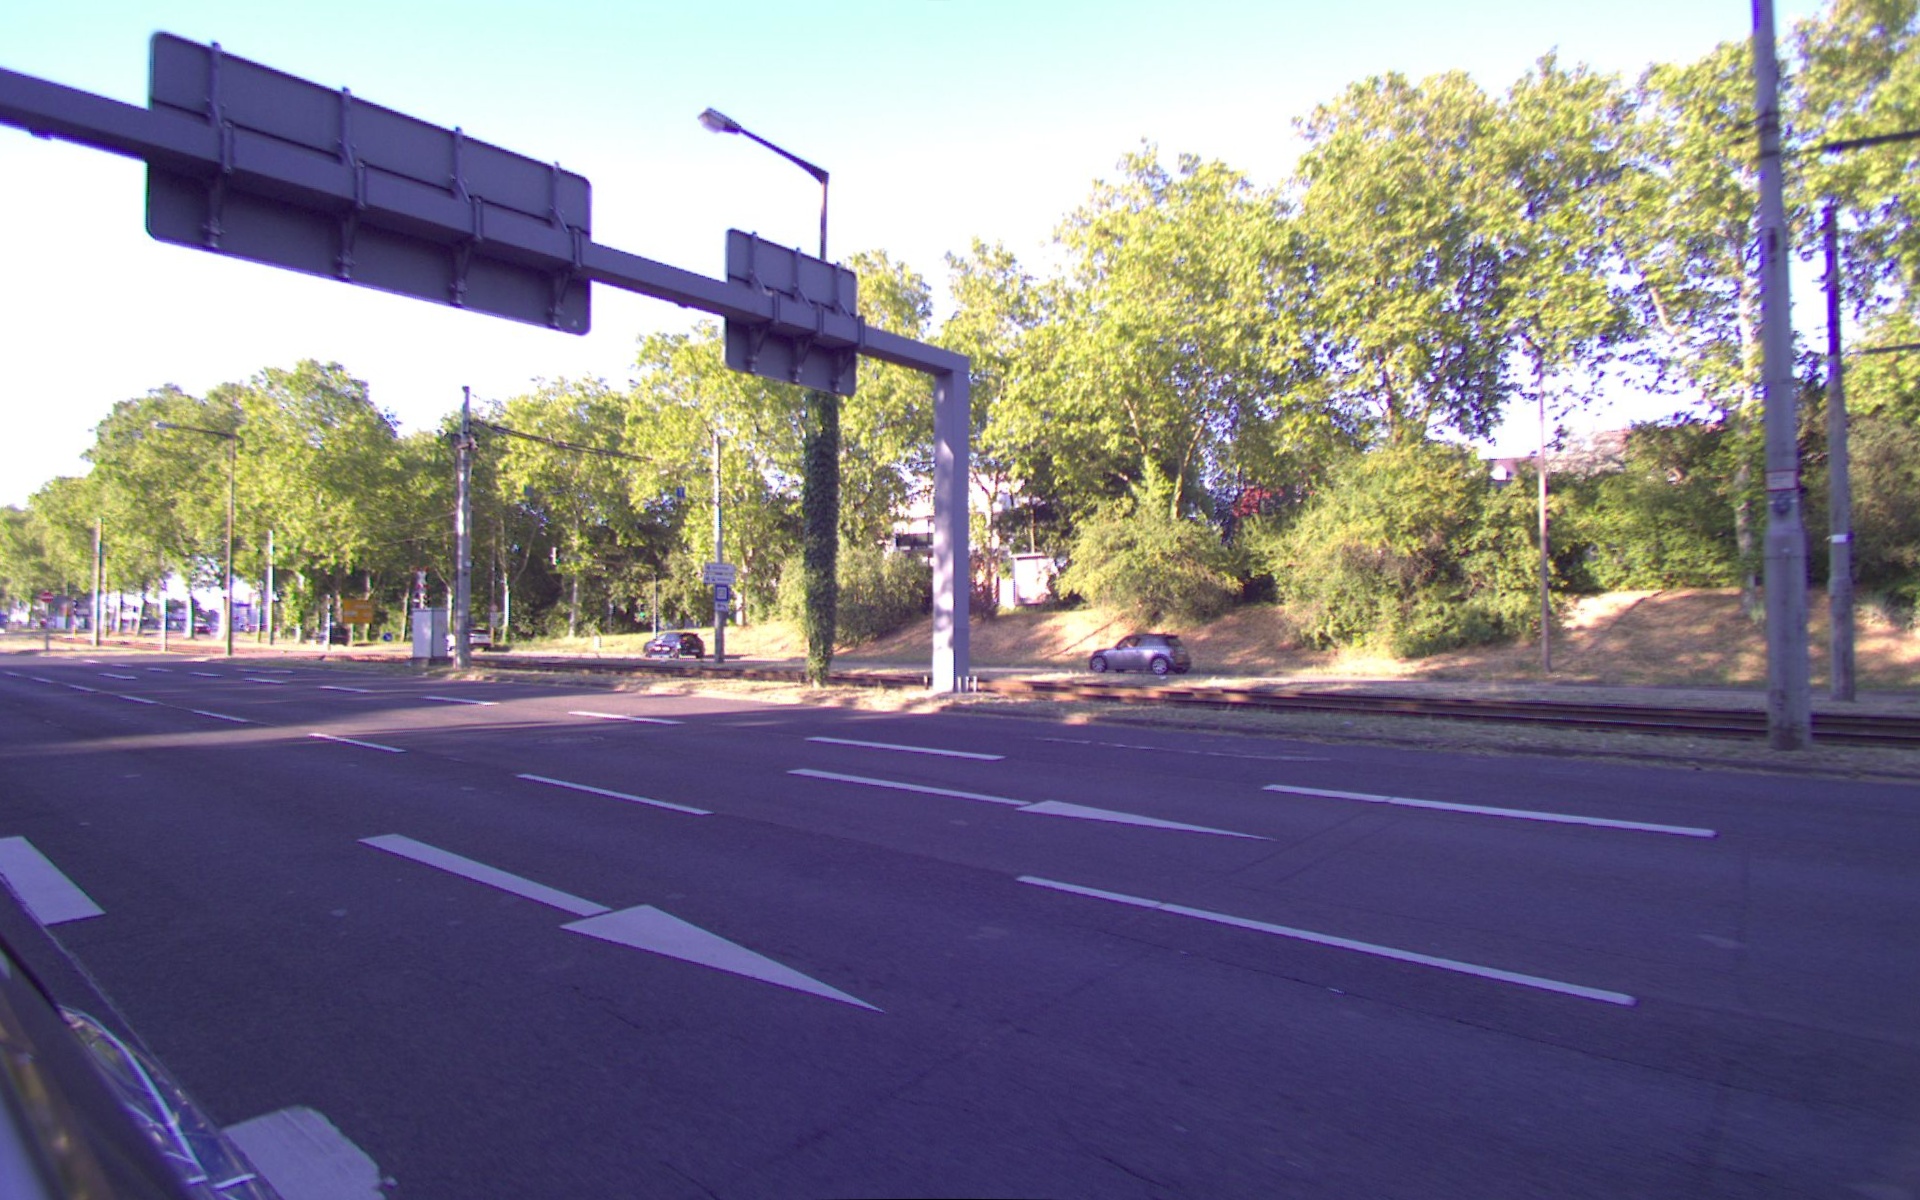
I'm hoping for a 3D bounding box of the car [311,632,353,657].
[{"bbox_3d":[-55.191,3.894,88.880,4.189,2.082,1.972,-2,-3,42],"label":"car"}]

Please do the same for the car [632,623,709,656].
[{"bbox_3d":[-15.424,2.102,53.834,4.190,1.694,1.972,-2,-3,42],"label":"car"}]

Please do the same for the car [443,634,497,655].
[{"bbox_3d":[-34.959,3.148,72.153,4.188,1.452,1.973,-2,-3,41],"label":"car"}]

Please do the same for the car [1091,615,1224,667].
[{"bbox_3d":[6.908,1.440,35.561,4.188,1.694,1.973,-2,-3,41],"label":"car"}]
